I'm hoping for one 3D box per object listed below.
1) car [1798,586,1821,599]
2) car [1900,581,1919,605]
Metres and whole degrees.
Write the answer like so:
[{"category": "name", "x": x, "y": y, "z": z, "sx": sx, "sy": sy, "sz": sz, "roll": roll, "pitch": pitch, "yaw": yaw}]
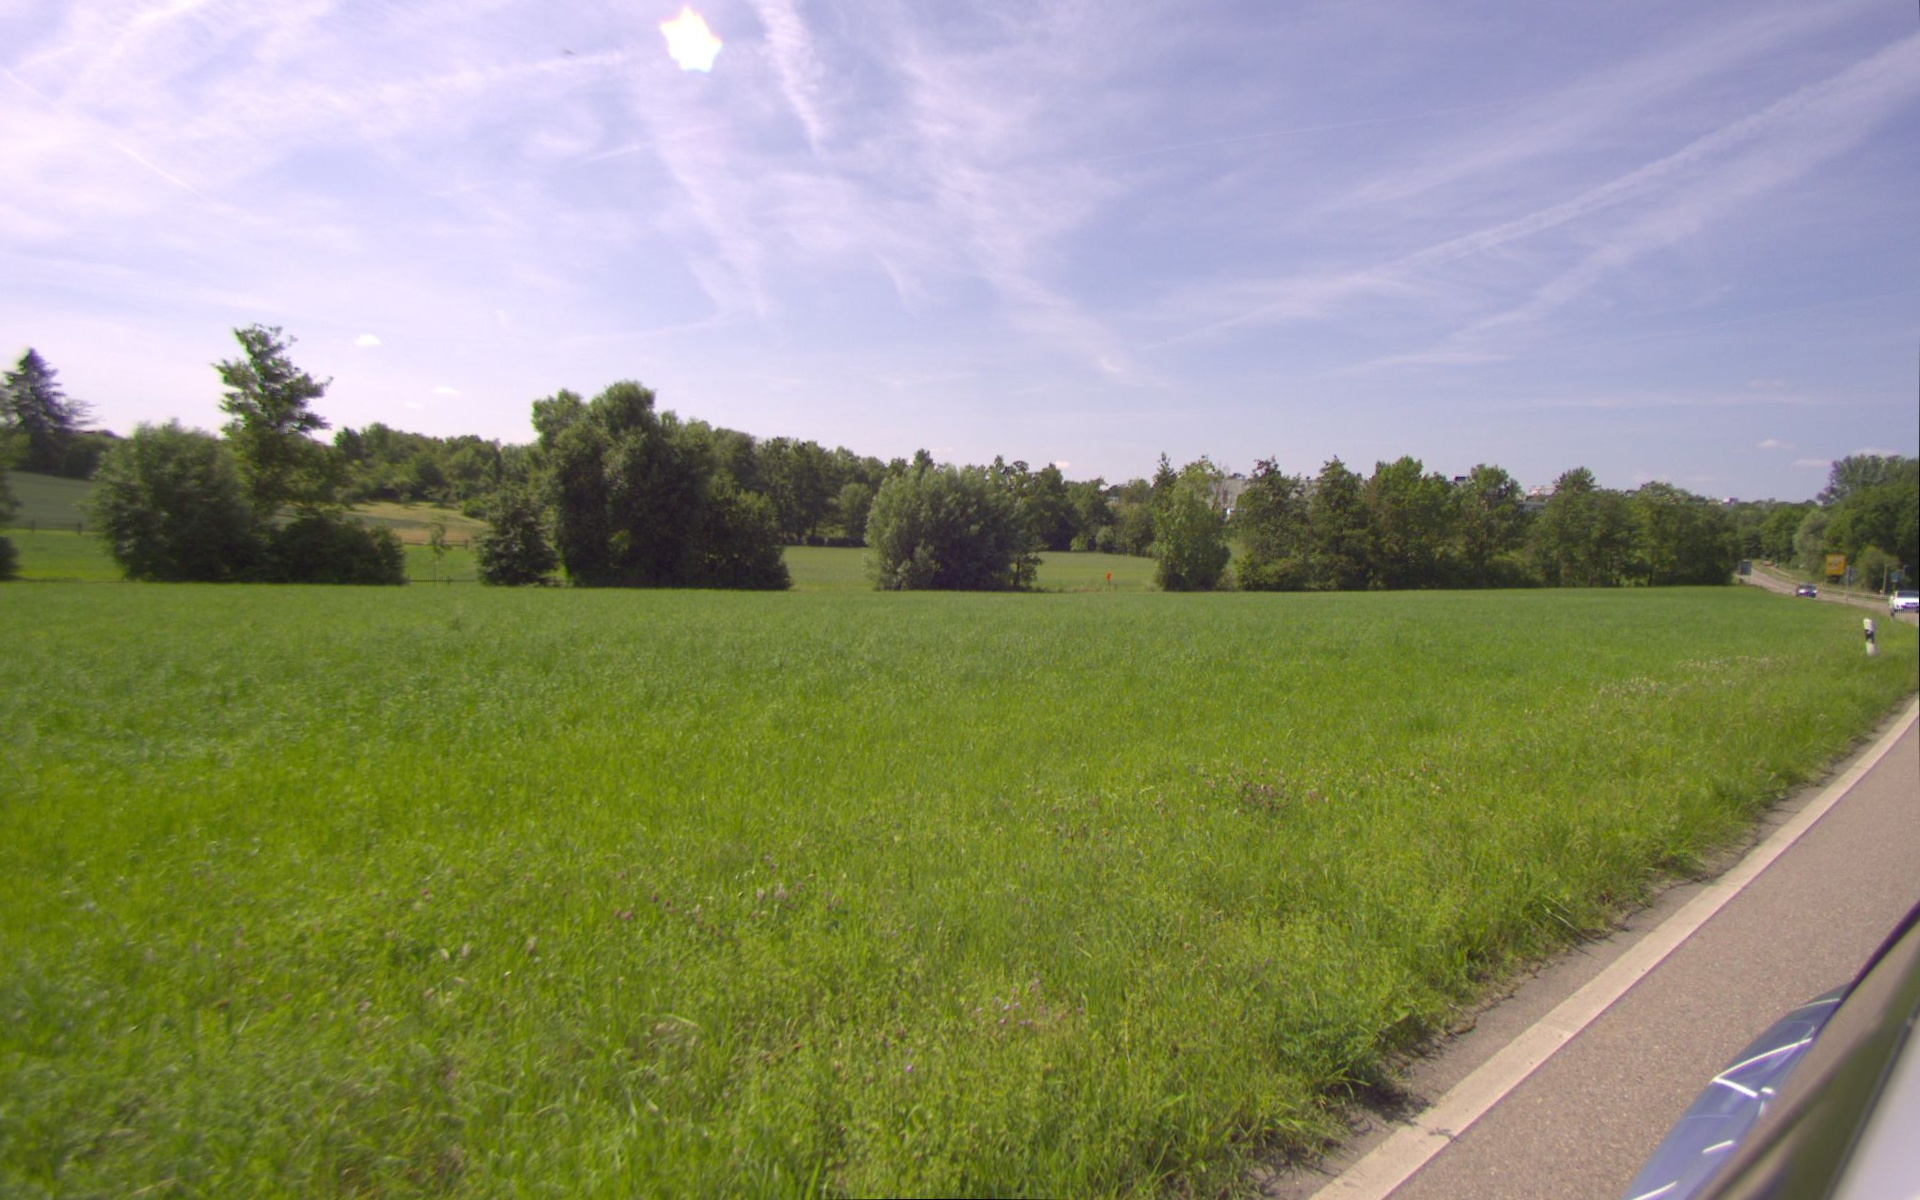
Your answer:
[{"category": "car", "x": 104.721, "y": -0.928, "z": 124.765, "sx": 1.991, "sy": 1.604, "sz": 3.943, "roll": 3, "pitch": 2, "yaw": 39}, {"category": "car", "x": 66.860, "y": -0.469, "z": 70.283, "sx": 1.991, "sy": 1.604, "sz": 3.943, "roll": 2, "pitch": 2, "yaw": 39}]
